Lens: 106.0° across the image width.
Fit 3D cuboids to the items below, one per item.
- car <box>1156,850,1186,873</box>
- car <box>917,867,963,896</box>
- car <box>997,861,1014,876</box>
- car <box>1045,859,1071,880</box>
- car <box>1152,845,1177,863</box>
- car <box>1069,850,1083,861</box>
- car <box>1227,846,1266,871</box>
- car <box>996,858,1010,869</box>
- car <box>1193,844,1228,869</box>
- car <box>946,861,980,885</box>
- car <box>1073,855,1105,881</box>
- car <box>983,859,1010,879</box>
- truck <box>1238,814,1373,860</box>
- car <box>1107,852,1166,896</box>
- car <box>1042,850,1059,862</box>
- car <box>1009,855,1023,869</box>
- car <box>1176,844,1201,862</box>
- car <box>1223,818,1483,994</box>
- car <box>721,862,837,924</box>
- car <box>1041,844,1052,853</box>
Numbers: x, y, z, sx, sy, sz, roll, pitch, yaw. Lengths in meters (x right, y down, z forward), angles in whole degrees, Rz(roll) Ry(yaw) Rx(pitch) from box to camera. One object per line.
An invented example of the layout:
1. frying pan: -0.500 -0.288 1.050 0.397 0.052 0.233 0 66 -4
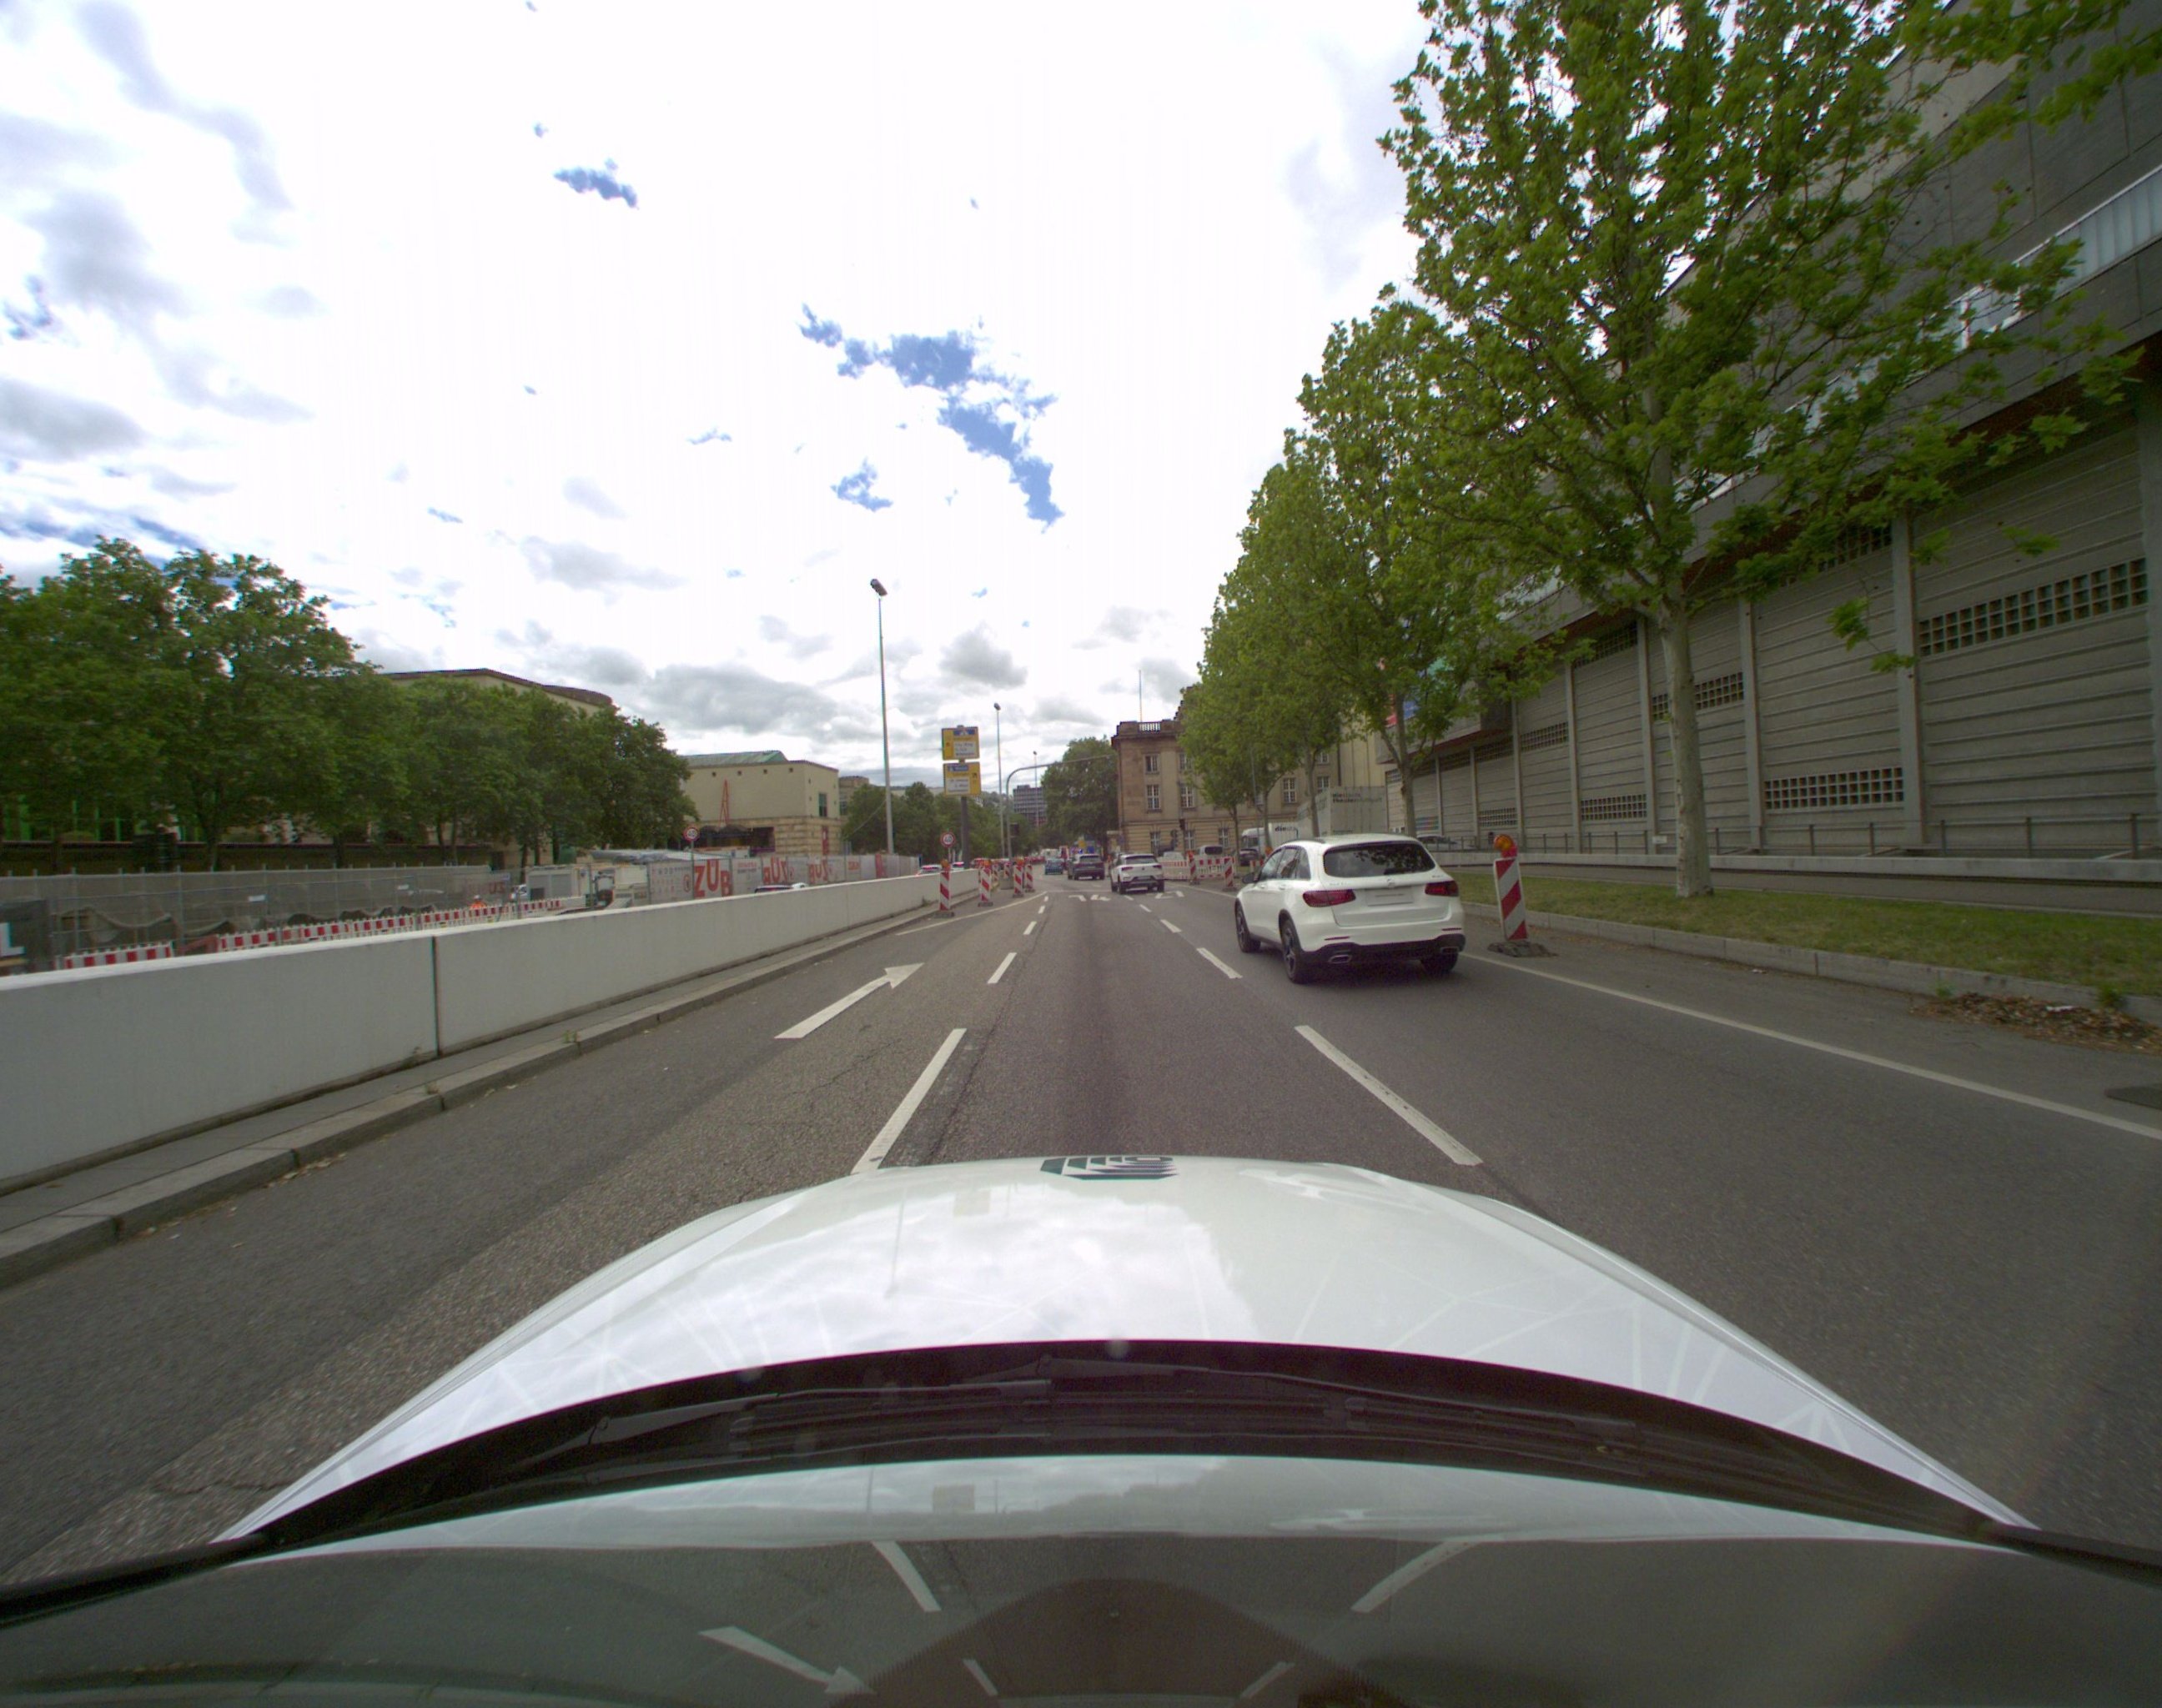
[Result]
1. car: 6.544 0.561 59.712 1.745 1.568 4.331 -3 -1 1
2. car: -8.390 1.605 48.903 1.743 1.568 4.334 -3 -1 3
3. car: -9.005 1.727 97.778 1.746 1.568 4.327 -3 -1 -3
4. car: -2.124 1.379 75.201 1.815 1.740 4.486 -4 0 5
5. car: 7.936 0.038 77.744 1.850 1.568 4.331 -3 -1 1
6. car: -1.164 0.399 188.579 2.570 2.374 5.533 -4 0 5
7. car: 11.509 0.348 56.878 1.850 1.568 4.331 -3 -1 1
8. car: -11.284 1.406 118.286 1.746 1.568 4.327 -3 -1 -2
9. car: 9.065 0.206 57.366 1.745 1.568 4.331 -3 -1 1
10. car: -8.381 1.331 58.015 1.744 1.568 3.378 -2 0 1
11. car: 0.467 0.898 52.796 1.819 1.568 4.475 -1 0 -3
12. car: -7.155 1.256 69.531 1.744 1.567 3.378 -5 0 1
13. truck: 17.842 -1.298 65.253 9.995 3.051 2.569 -3 -1 0
14. car: 2.216 0.768 33.573 1.747 1.567 4.325 -5 0 -4
15. car: -6.322 0.411 169.436 2.570 2.374 5.533 -4 0 5
16. car: -10.501 1.309 131.632 1.989 2.013 3.997 -3 1 -3
17. car: 10.269 -0.101 78.155 1.850 1.568 4.331 -3 -1 1
18. car: 3.208 0.525 10.687 1.805 1.642 4.552 -6 0 1
19. car: -9.204 1.142 25.191 1.987 1.641 3.999 -3 0 0
20. car: -10.269 -1.589 243.868 2.570 2.374 5.533 -4 0 5
